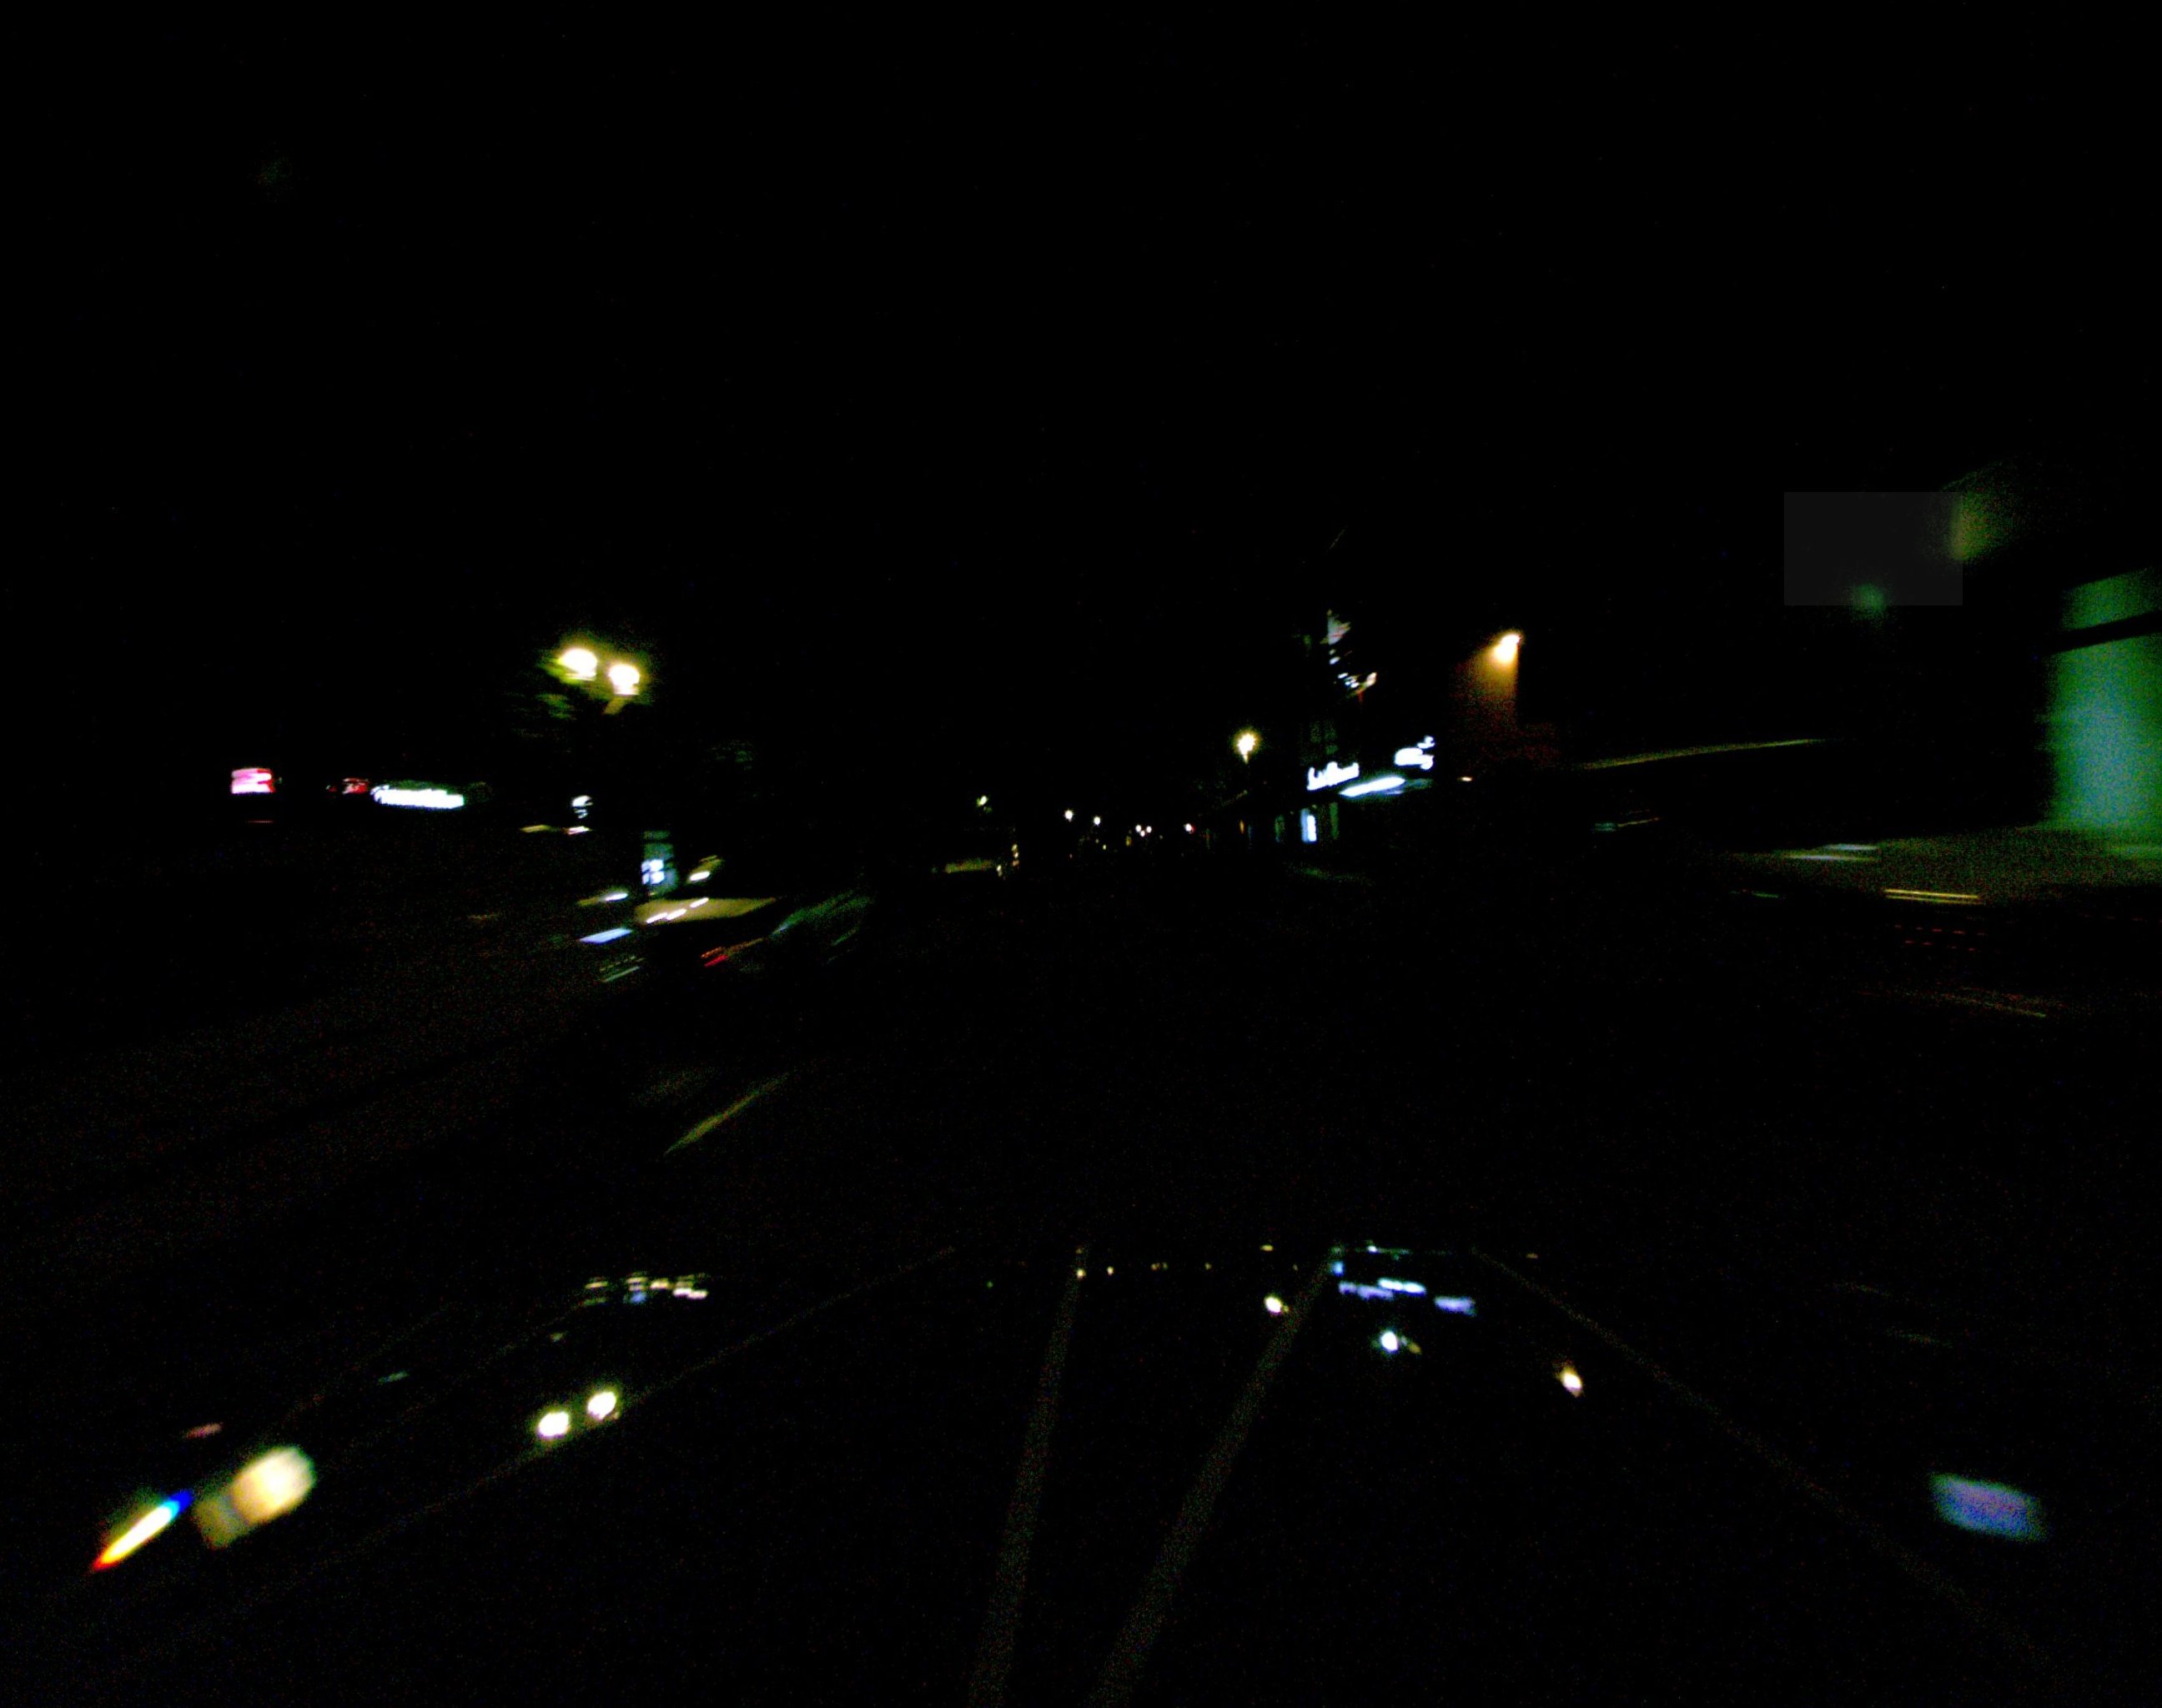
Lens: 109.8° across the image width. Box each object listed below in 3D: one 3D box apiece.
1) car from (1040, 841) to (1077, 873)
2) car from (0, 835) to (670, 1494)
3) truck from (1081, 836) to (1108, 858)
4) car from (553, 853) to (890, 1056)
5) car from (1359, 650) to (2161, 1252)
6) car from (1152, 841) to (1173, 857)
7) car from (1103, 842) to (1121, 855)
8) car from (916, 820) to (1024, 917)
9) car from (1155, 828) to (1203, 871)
[{"bbox_3d":[-1.345,0.141,47.779,1.912,1.792,4.937,-4,1,2],"label":"car"},{"bbox_3d":[-3.881,0.897,2.967,1.793,1.811,4.579,-4,1,2],"label":"car"},{"bbox_3d":[1.577,-0.777,83.671,2.109,2.230,6.290,-4,1,8],"label":"truck"},{"bbox_3d":[-3.721,0.893,8.867,1.688,1.650,4.296,-4,1,1],"label":"car"},{"bbox_3d":[3.964,0.271,5.276,1.857,2.075,5.089,-6,1,-2],"label":"car"},{"bbox_3d":[8.367,-0.548,78.123,1.795,1.496,4.000,-5,1,3],"label":"car"},{"bbox_3d":[3.928,-0.675,96.580,1.736,1.493,4.002,-4,1,8],"label":"car"},{"bbox_3d":[-2.990,0.330,21.743,2.139,2.313,5.151,-4,1,1],"label":"car"},{"bbox_3d":[5.132,-0.257,40.429,1.929,1.954,5.077,-6,1,2],"label":"car"}]
